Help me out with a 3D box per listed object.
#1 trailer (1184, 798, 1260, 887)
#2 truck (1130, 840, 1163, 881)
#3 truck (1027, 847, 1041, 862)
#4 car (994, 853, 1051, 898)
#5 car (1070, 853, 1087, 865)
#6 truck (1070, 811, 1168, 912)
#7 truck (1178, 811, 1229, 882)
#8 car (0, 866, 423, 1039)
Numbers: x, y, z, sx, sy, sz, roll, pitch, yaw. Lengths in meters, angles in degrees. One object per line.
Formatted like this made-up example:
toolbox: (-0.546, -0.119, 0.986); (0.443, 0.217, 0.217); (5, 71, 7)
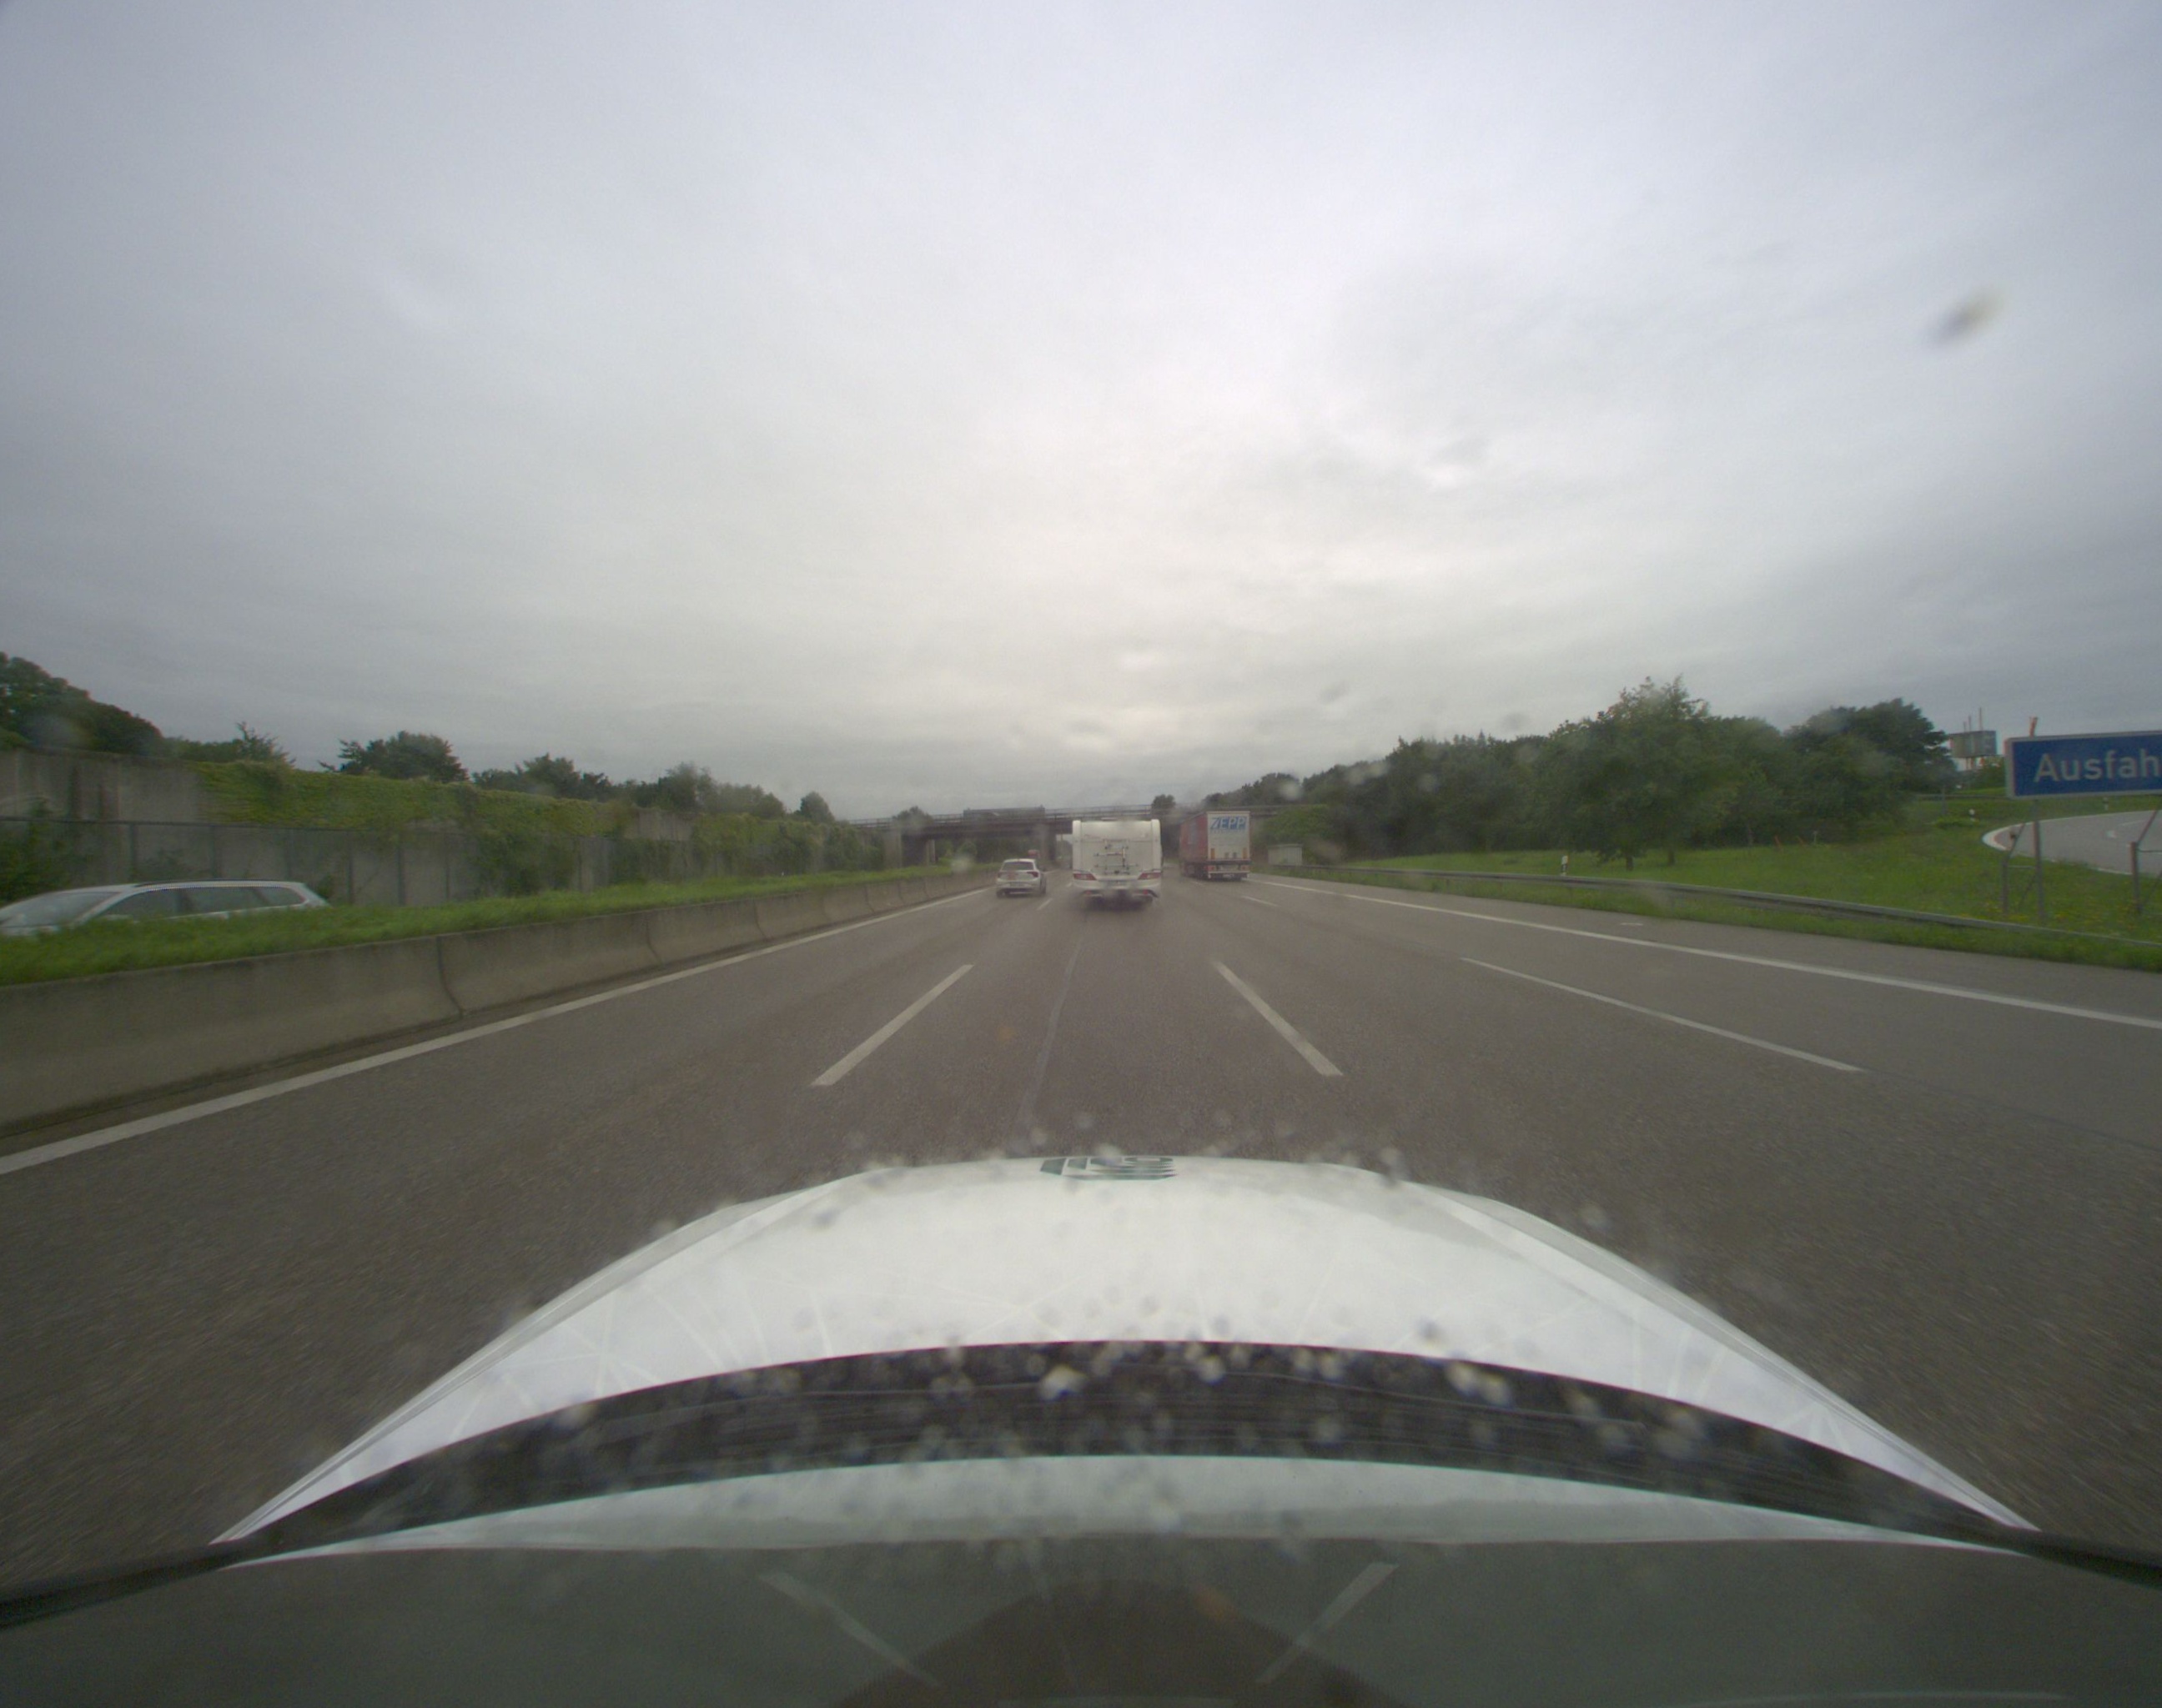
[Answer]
trailer: (8.566, -0.604, 51.233); (3.088, 4.922, 11.794); (0, -1, 2)
truck: (4.651, 0.467, 58.450); (2.046, 2.770, 5.550); (0, -1, 1)
truck: (-12.429, 0.129, 217.481); (2.682, 3.851, 10.115); (-2, 0, 2)
car: (-2.232, 0.798, 32.237); (1.746, 1.618, 4.665); (-1, 0, 2)
car: (-0.295, 0.729, 110.422); (1.985, 1.600, 5.127); (0, -1, 3)
truck: (1.090, 0.225, 24.744); (2.651, 2.742, 5.079); (0, -1, 1)
truck: (8.826, -0.494, 59.205); (3.037, 4.839, 5.853); (0, -1, 2)
car: (-12.373, 1.197, 11.852); (1.987, 2.014, 4.400); (0, -1, 0)
